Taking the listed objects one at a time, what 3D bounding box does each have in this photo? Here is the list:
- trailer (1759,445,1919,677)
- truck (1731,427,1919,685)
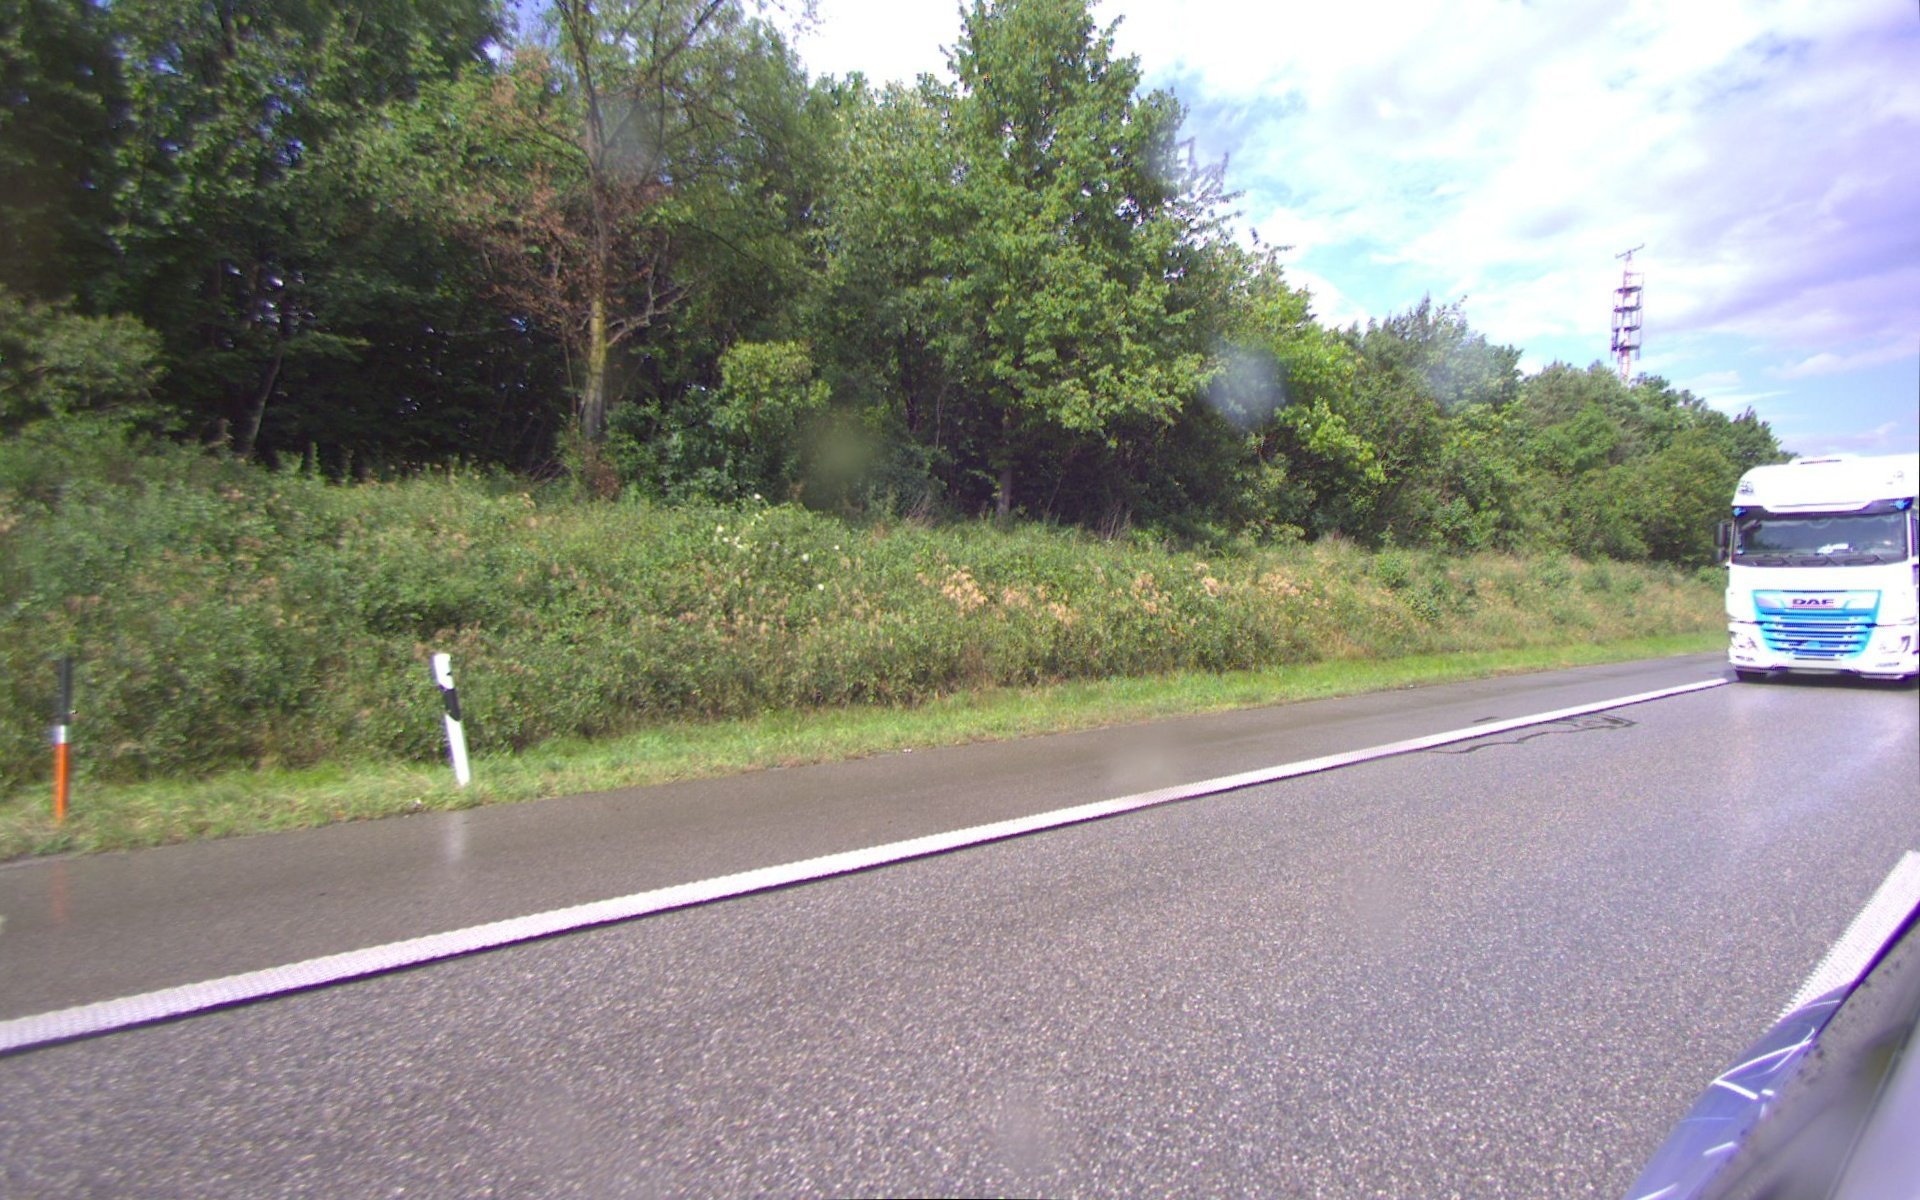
[{"bbox_3d":[21.317,-0.743,23.037,13.823,4.046,2.638,-1,0,-42],"label":"trailer"},{"bbox_3d":[17.003,-0.720,19.105,7.165,4.046,2.610,0,0,-42],"label":"truck"}]
